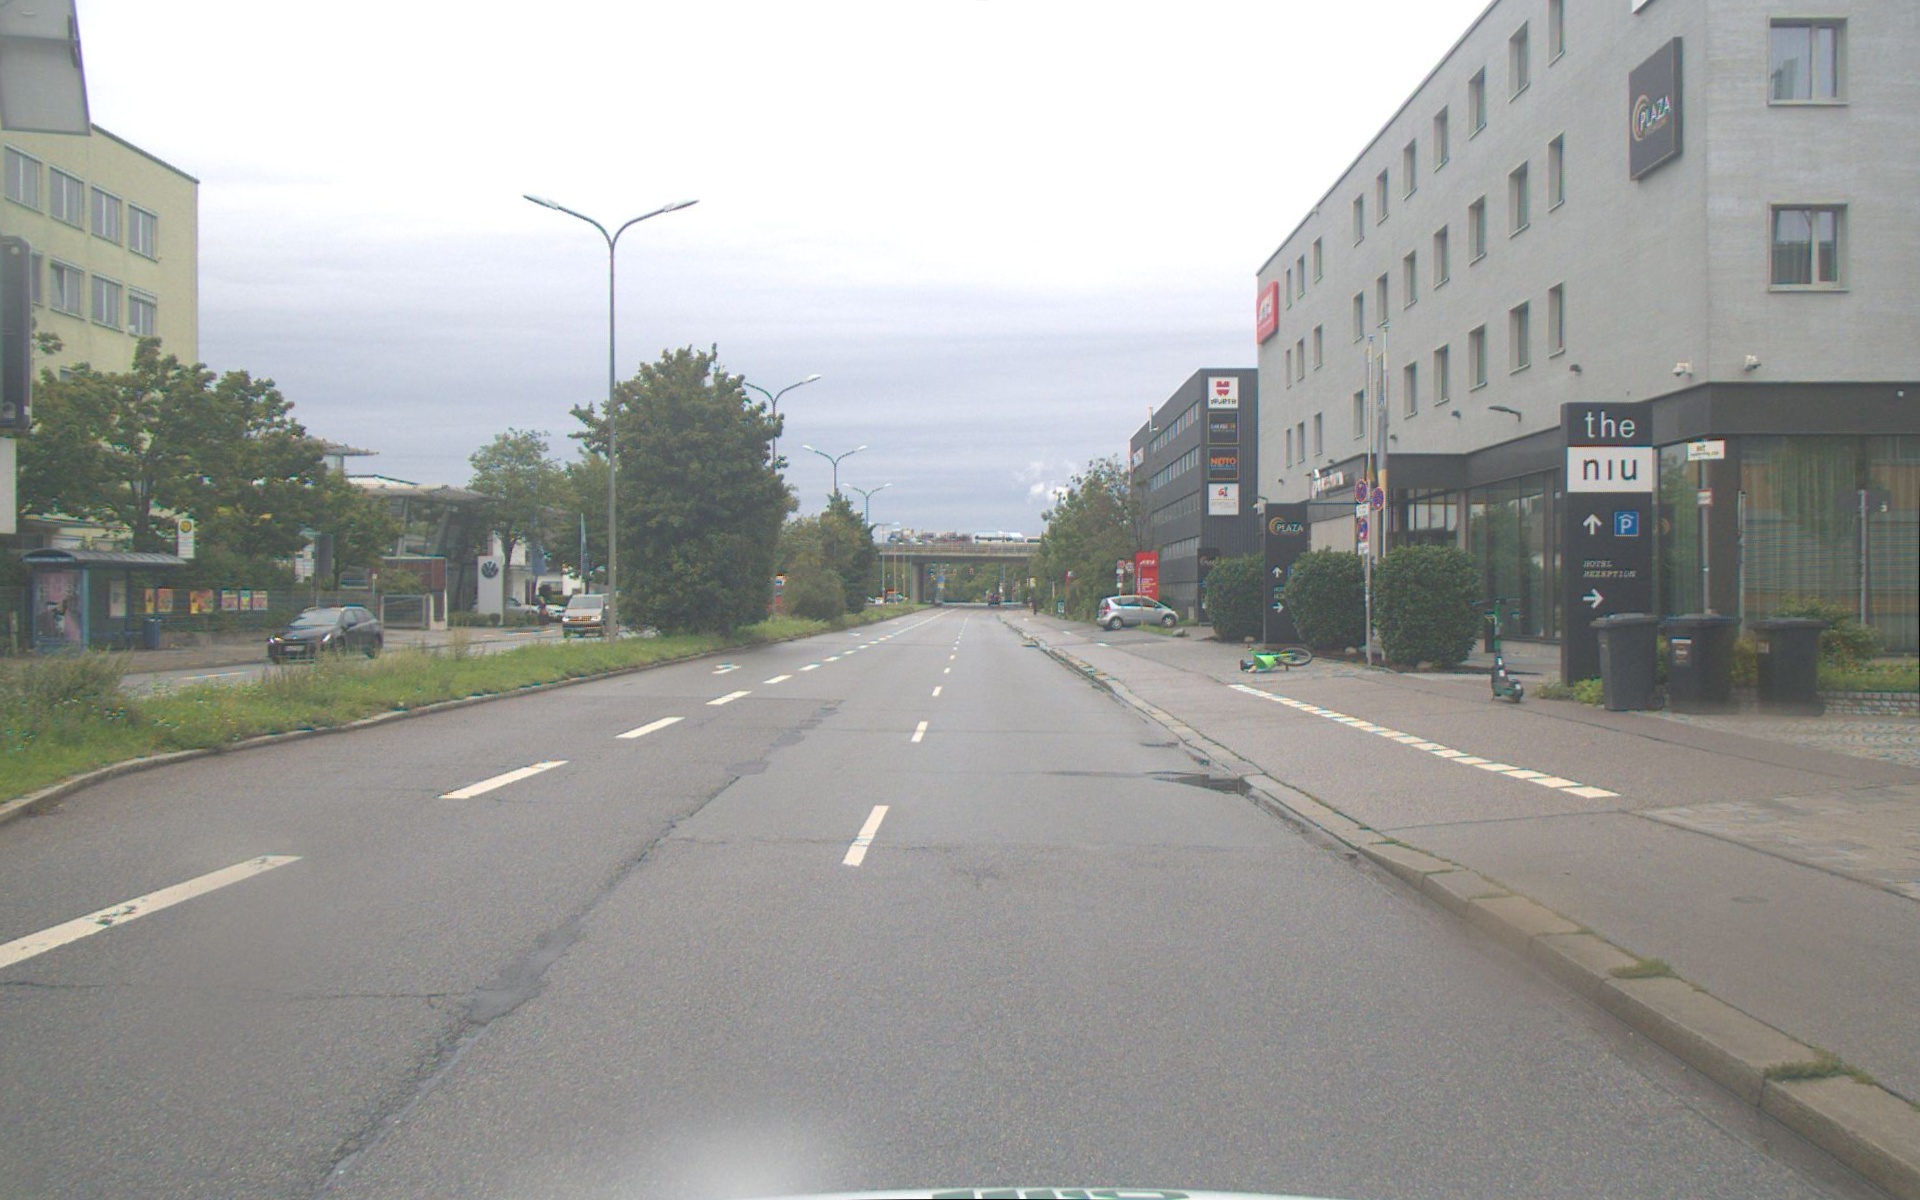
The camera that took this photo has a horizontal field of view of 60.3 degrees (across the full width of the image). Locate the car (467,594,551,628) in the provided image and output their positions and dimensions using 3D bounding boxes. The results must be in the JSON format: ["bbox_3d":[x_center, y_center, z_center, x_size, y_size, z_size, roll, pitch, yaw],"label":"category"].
[{"bbox_3d":[-26.556,0.647,97.328,4.568,1.874,1.788,-2,0,-23],"label":"car"}]

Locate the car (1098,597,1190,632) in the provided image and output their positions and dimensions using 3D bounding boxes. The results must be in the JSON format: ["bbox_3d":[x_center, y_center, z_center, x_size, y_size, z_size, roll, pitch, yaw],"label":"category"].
[{"bbox_3d":[8.606,0.668,77.484,3.940,1.585,1.816,1,0,-10],"label":"car"}]

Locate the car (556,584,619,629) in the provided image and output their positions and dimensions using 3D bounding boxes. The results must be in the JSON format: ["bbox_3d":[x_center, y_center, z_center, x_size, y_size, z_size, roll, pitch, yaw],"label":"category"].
[{"bbox_3d":[-17.260,0.283,76.835,1.953,1.995,4.324,-2,0,-1],"label":"car"}]

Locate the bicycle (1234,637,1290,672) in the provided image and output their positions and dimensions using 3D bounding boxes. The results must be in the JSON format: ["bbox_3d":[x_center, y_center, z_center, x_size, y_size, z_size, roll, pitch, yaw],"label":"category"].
[{"bbox_3d":[5.705,1.017,31.316,0.705,0.558,1.732,-4,0,0],"label":"bicycle"}]

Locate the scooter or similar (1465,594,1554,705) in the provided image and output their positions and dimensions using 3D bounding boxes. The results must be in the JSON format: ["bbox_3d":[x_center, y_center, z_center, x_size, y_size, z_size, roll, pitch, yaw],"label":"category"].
[{"bbox_3d":[6.900,0.597,20.823,0.574,1.299,1.404,-5,0,1],"label":"scooter or similar"}]

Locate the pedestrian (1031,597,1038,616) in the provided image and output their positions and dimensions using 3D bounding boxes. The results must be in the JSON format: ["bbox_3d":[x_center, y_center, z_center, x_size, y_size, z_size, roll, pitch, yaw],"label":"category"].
[{"bbox_3d":[7.257,0.631,160.869,0.674,1.909,0.662,-1,0,0],"label":"pedestrian"}]

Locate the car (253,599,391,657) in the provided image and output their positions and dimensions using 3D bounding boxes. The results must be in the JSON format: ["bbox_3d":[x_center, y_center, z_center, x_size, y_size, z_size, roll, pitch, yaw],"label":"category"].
[{"bbox_3d":[-17.157,0.728,44.737,1.953,1.426,4.654,-2,0,-1],"label":"car"}]

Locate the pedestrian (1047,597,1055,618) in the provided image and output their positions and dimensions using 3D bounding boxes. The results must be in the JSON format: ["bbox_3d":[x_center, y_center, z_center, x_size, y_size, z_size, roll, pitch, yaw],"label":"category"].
[{"bbox_3d":[8.371,0.655,152.196,0.674,1.909,0.662,-1,0,0],"label":"pedestrian"}]

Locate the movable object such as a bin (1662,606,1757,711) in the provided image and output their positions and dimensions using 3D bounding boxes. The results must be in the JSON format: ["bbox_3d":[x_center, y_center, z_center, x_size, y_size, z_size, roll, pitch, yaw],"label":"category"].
[{"bbox_3d":[8.177,0.629,18.071,0.722,1.097,0.655,-1,0,1],"label":"movable object such as a bin"}]

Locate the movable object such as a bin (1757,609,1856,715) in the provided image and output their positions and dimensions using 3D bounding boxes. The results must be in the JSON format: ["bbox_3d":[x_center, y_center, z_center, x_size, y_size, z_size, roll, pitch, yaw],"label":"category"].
[{"bbox_3d":[9.148,0.663,17.891,0.722,1.097,0.655,-1,0,1],"label":"movable object such as a bin"}]

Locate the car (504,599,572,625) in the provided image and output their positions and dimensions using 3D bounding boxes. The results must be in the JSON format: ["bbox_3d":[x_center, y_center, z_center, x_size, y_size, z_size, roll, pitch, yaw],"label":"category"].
[{"bbox_3d":[-27.078,0.746,106.140,3.905,1.535,1.801,-2,0,22],"label":"car"}]

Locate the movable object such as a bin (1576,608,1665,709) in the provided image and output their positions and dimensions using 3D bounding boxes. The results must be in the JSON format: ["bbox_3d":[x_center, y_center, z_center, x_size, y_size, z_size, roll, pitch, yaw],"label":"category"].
[{"bbox_3d":[7.433,0.646,18.648,0.722,1.097,0.655,-1,0,1],"label":"movable object such as a bin"}]

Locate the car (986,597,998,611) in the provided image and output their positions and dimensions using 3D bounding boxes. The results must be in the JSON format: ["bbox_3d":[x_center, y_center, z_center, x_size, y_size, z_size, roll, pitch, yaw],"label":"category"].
[{"bbox_3d":[4.820,0.624,249.105,1.774,2.049,3.834,1,0,2],"label":"car"}]
